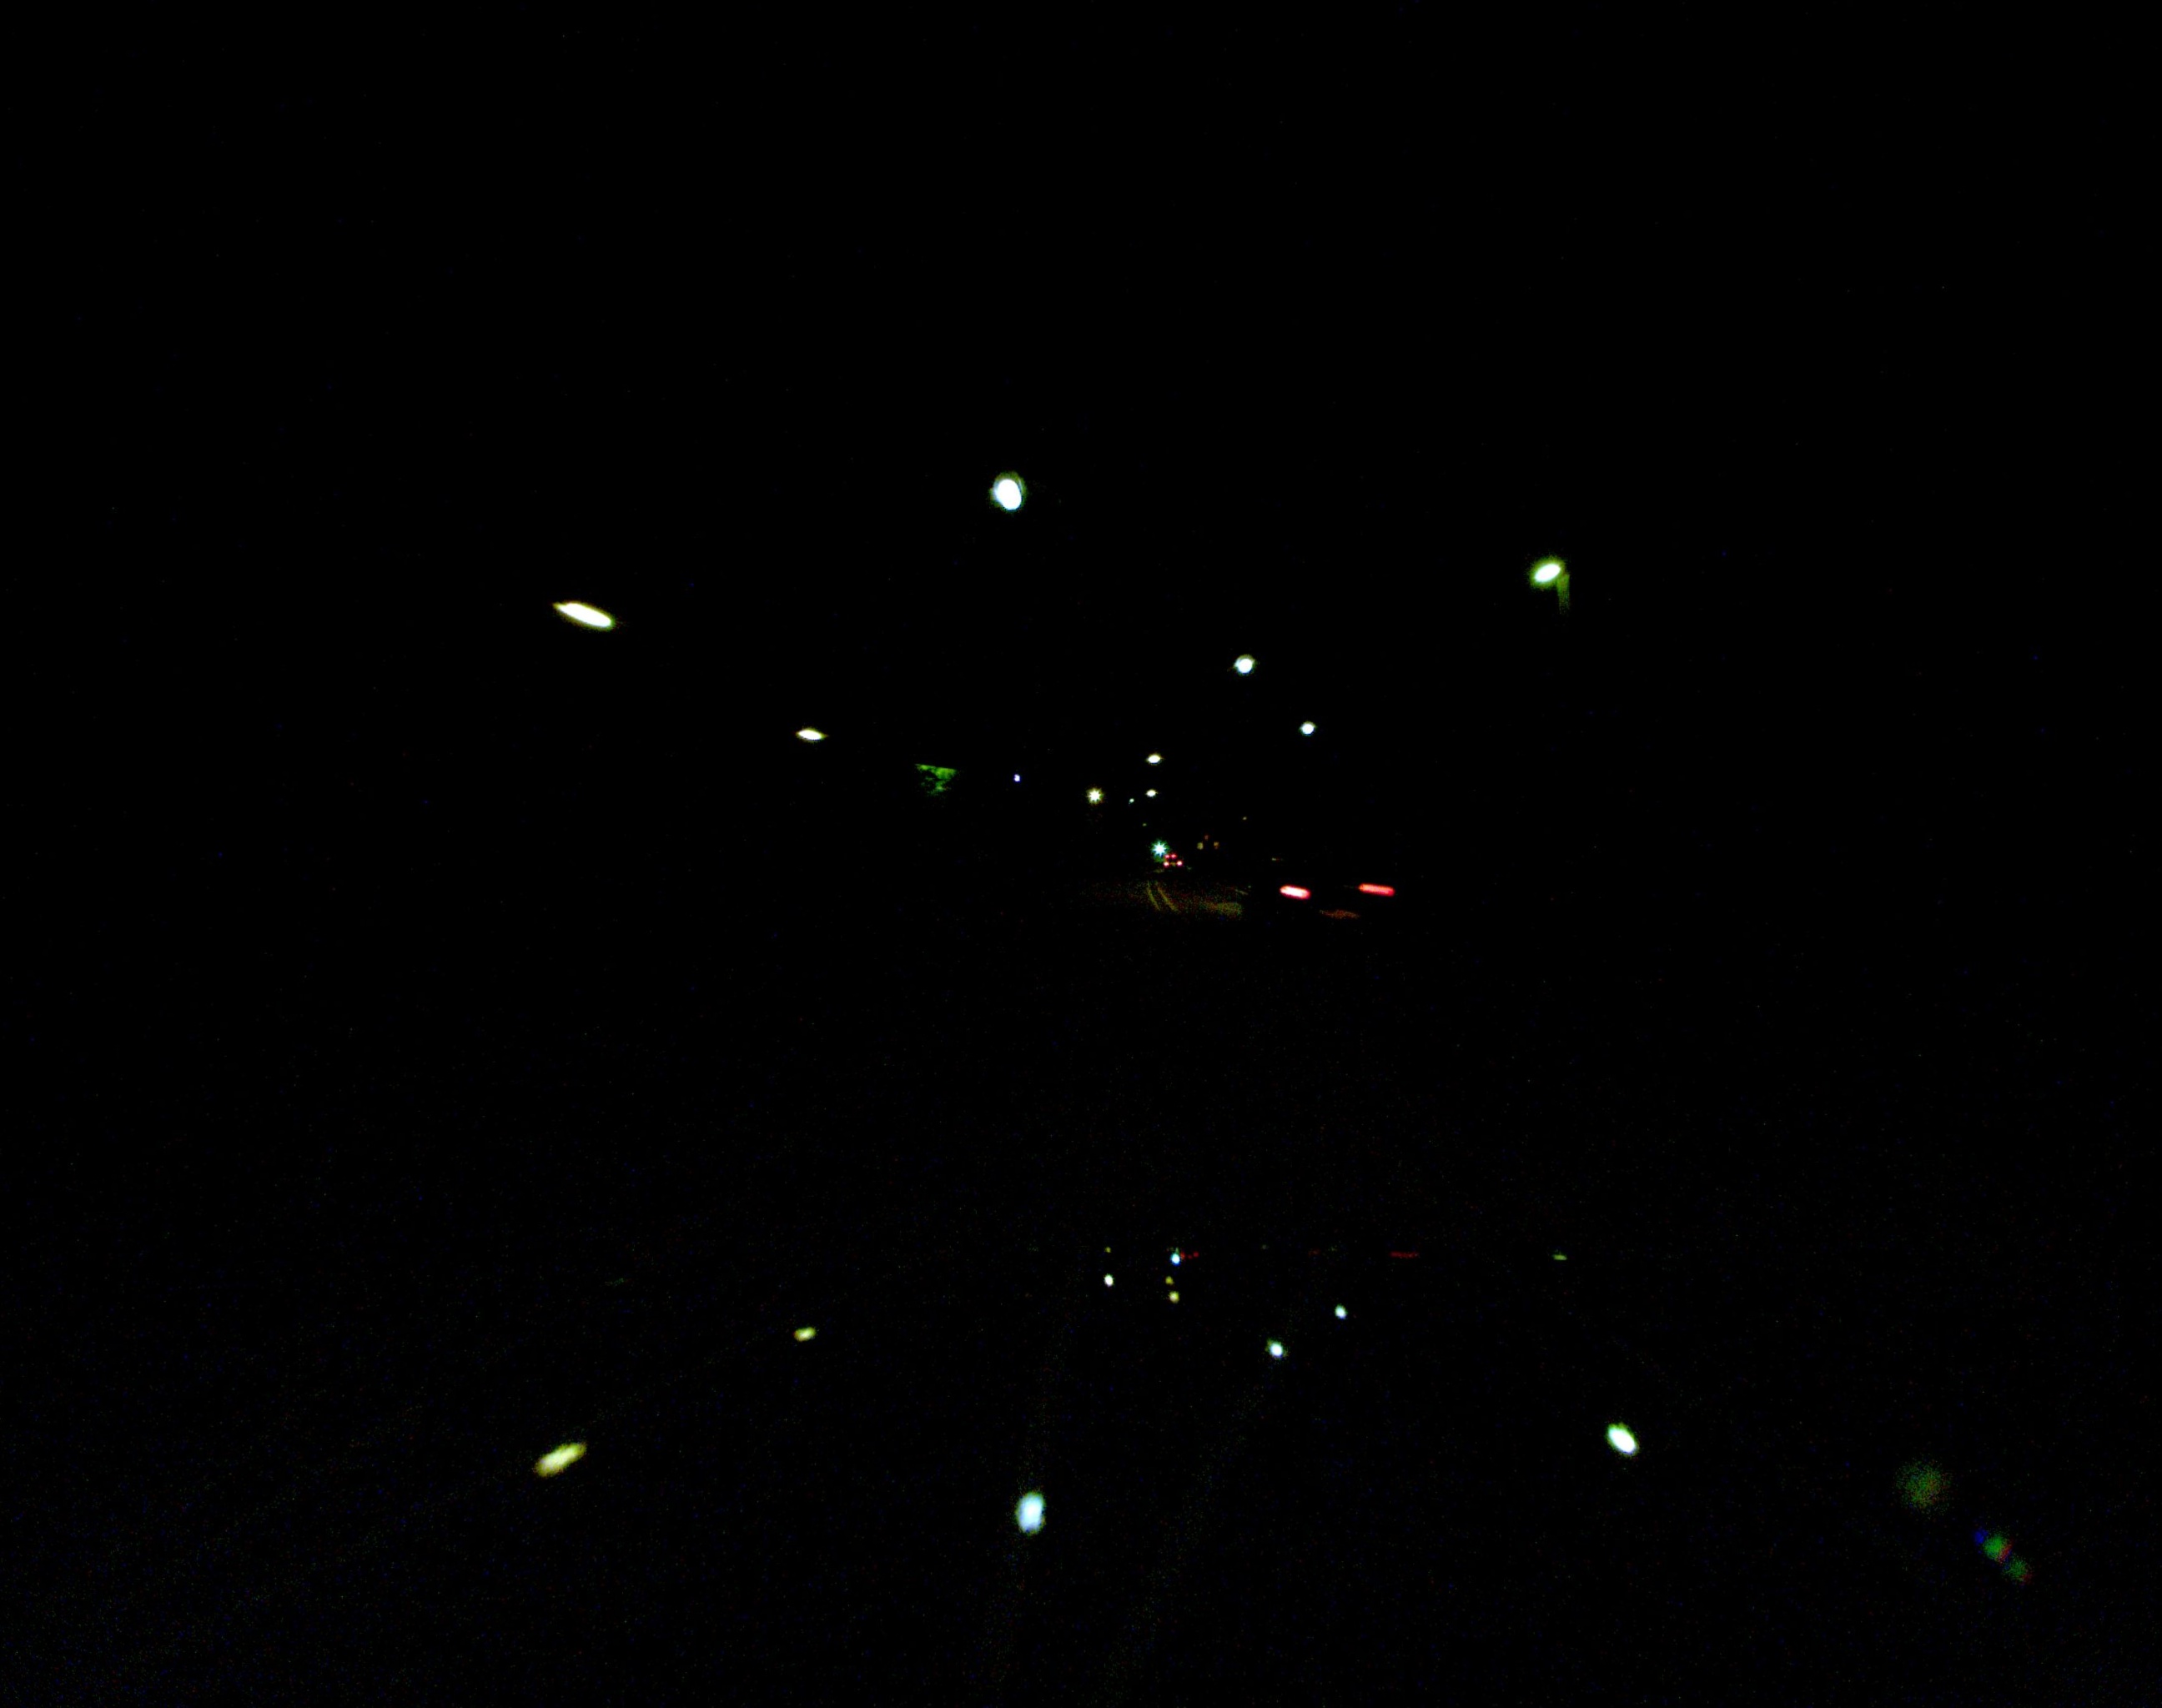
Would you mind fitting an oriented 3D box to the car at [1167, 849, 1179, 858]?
[{"bbox_3d":[17.596,-0.029,144.597,1.885,1.545,4.221,-2,1,12],"label":"car"}]

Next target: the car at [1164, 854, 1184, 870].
[{"bbox_3d":[9.501,0.846,77.940,1.792,1.439,4.172,-3,1,4],"label":"car"}]

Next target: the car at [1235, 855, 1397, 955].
[{"bbox_3d":[4.099,0.809,13.958,1.863,1.501,4.000,-1,0,2],"label":"car"}]
